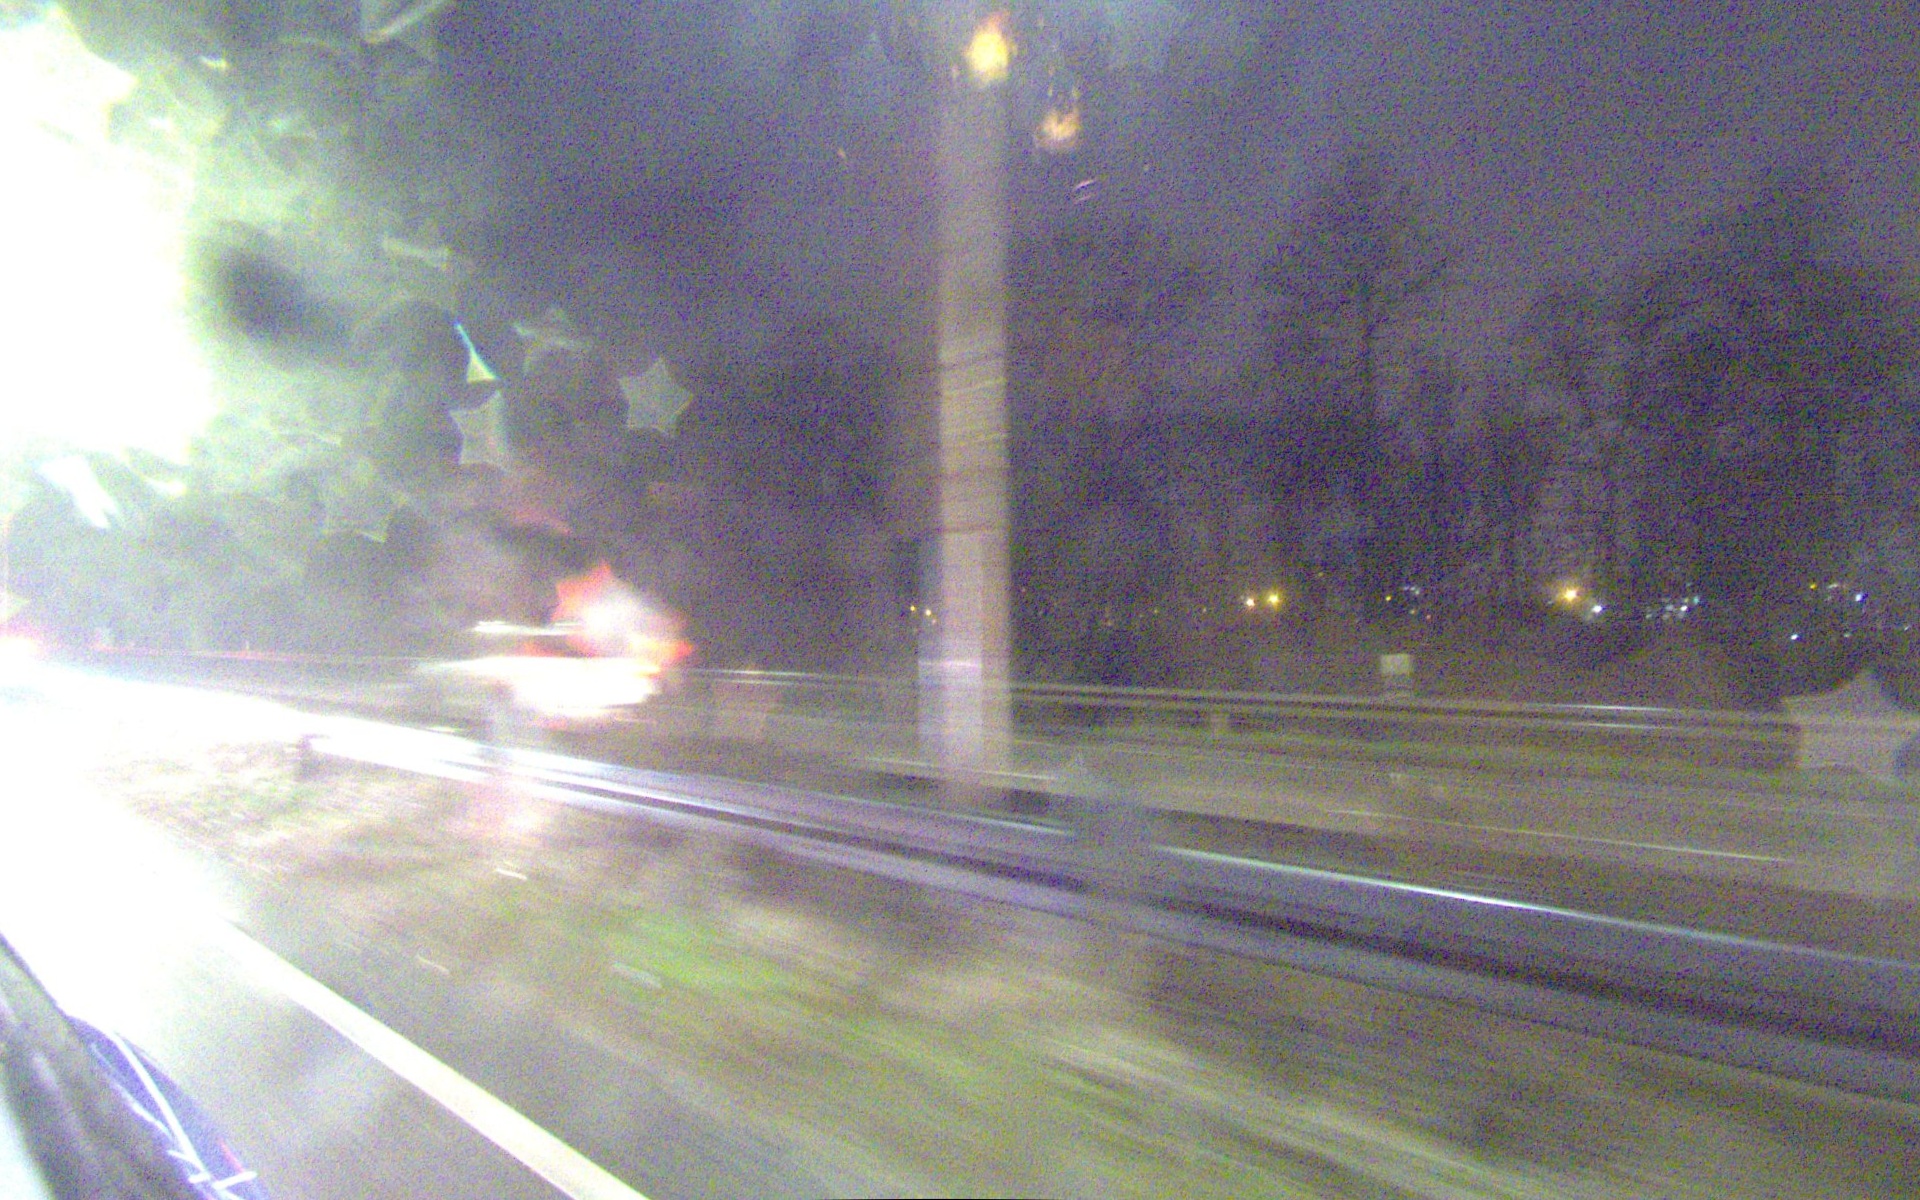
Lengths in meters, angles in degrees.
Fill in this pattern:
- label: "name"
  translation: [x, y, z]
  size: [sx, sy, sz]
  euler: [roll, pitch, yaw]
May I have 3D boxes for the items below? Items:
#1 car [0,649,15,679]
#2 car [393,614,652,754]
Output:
- label: "car"
  translation: [-51.665, 3.374, 53.575]
  size: [4.775, 1.487, 1.837]
  euler: [-2, -3, 40]
- label: "car"
  translation: [-6.099, 1.070, 13.936]
  size: [3.996, 1.664, 1.604]
  euler: [-2, -3, 39]
